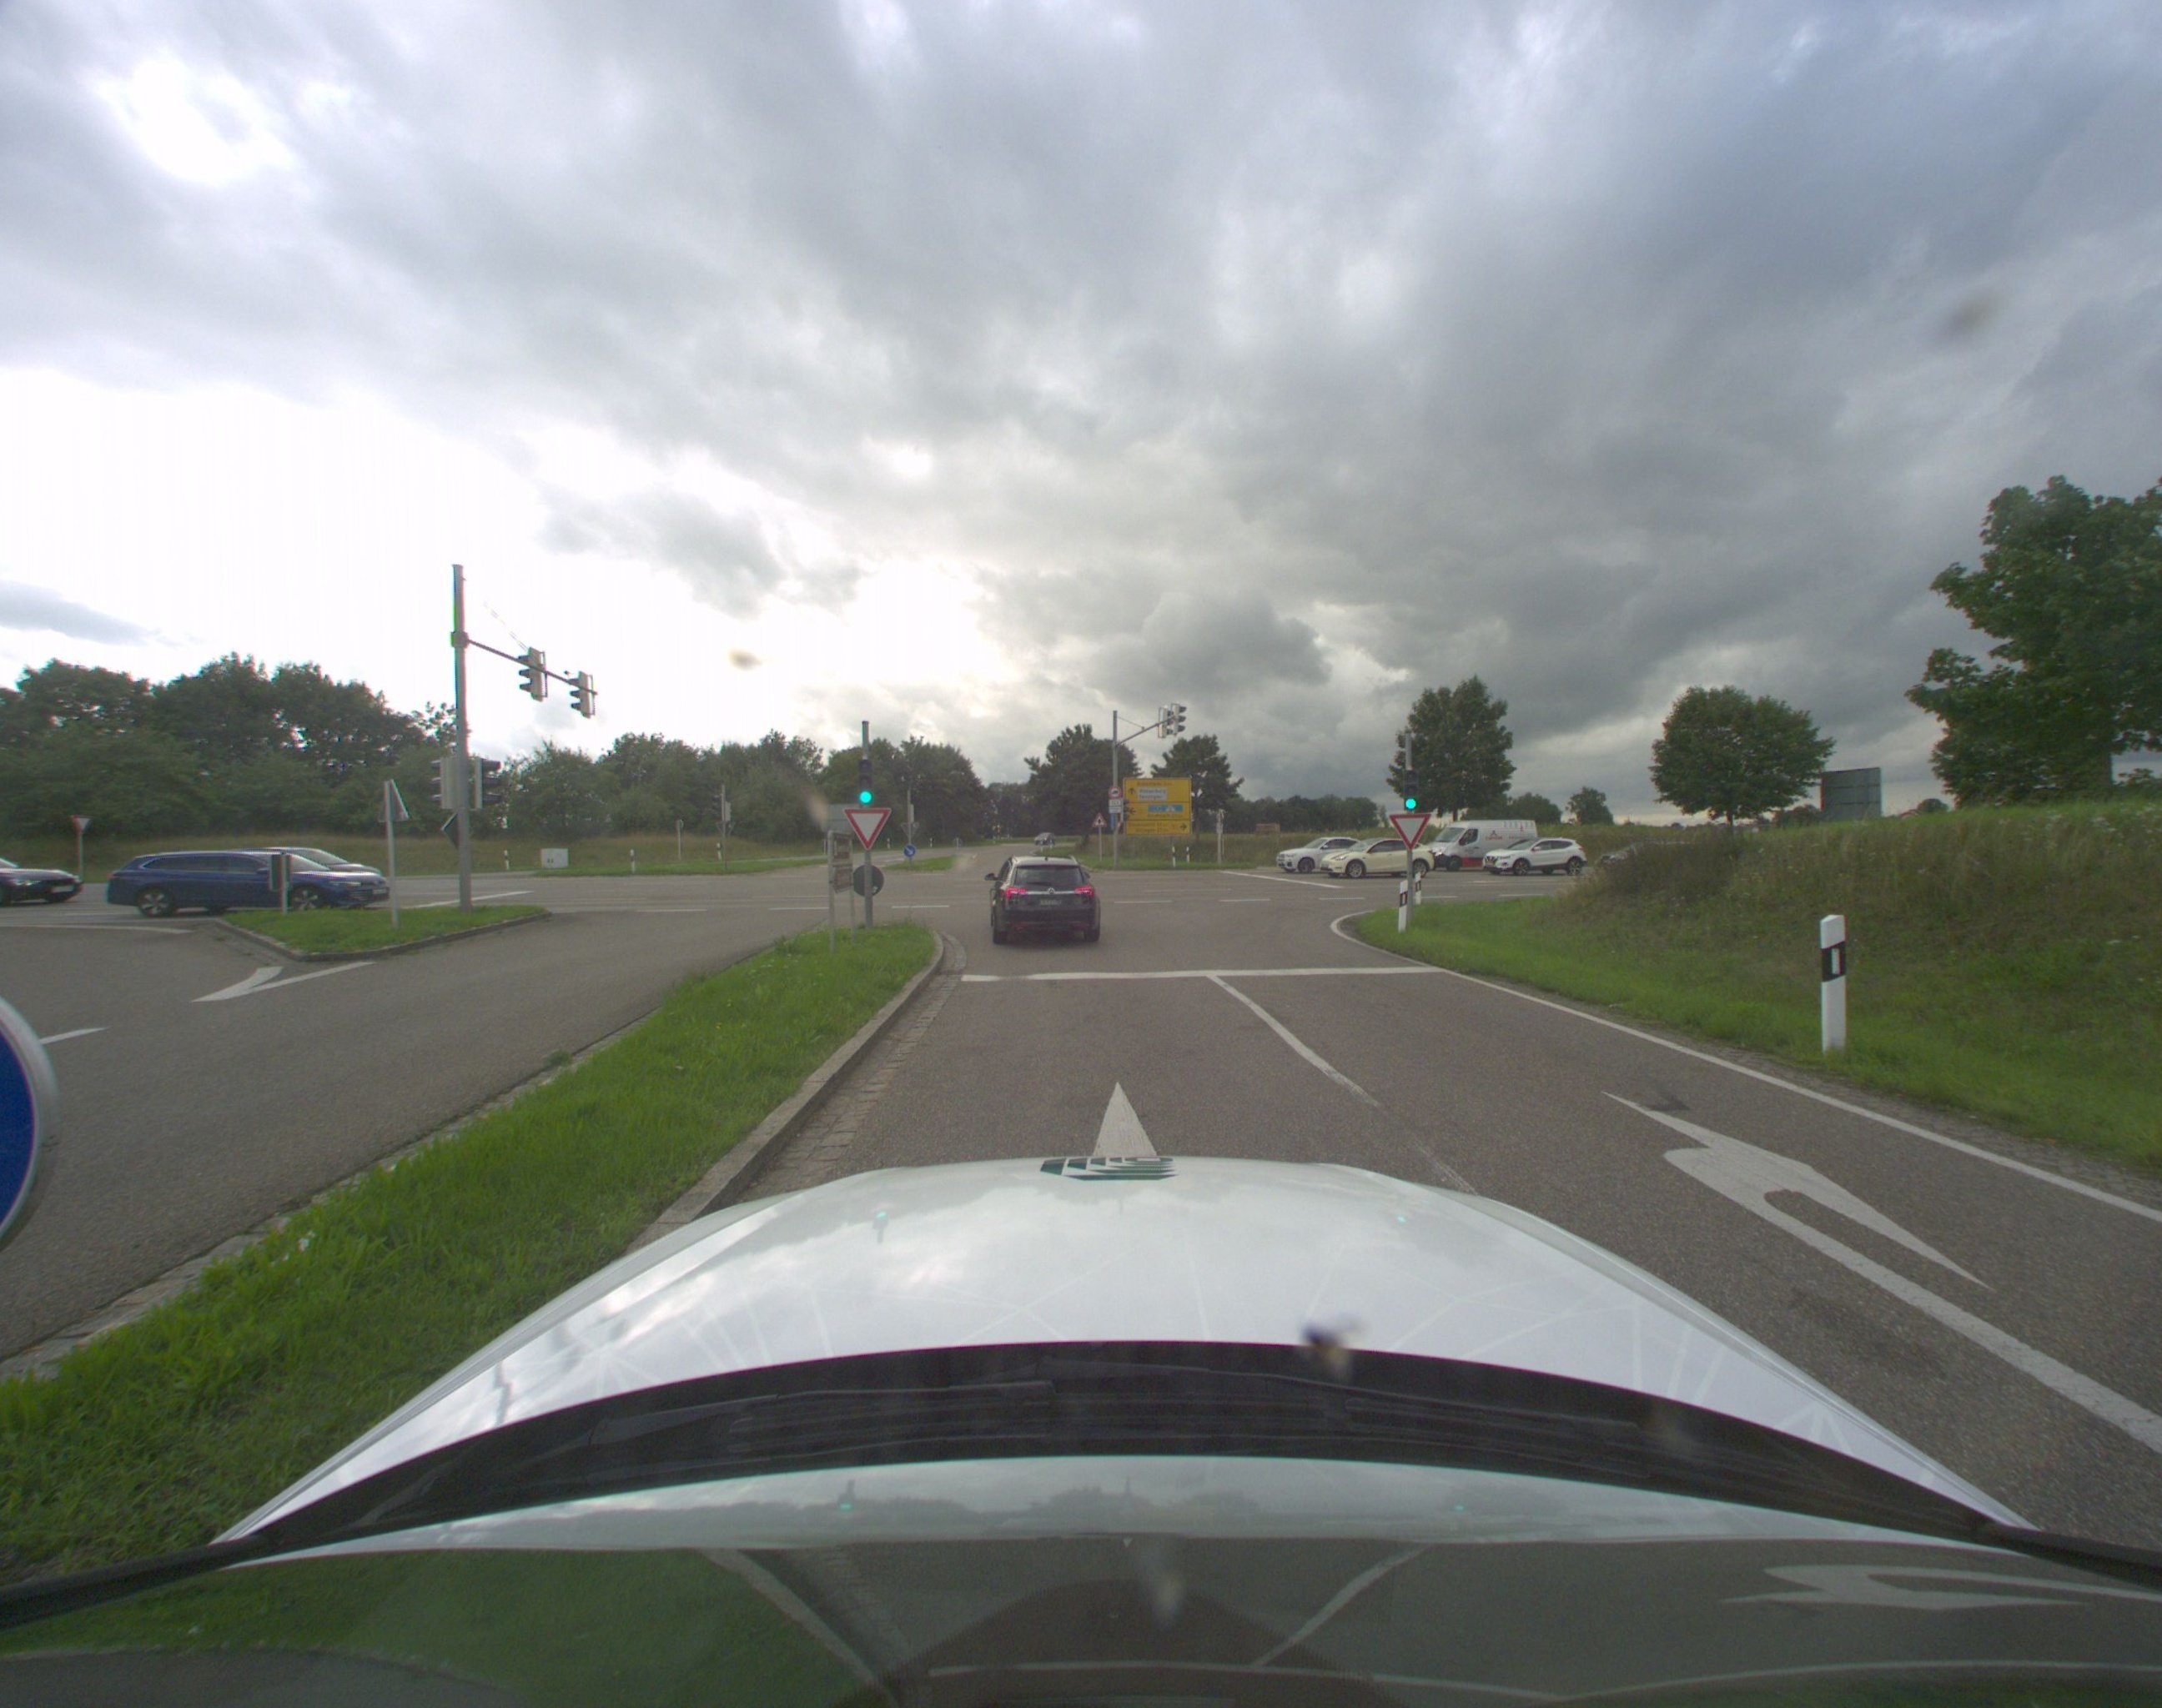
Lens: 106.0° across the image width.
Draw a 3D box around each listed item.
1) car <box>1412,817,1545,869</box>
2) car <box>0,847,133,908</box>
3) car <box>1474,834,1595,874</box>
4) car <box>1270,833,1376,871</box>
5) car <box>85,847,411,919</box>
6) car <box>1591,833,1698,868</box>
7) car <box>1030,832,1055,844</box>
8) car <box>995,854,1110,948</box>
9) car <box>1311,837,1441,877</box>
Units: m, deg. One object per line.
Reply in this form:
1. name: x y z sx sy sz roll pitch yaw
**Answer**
1. car: 19.208 -0.537 39.462 5.495 2.441 2.390 -1 0 -10
2. car: -28.921 0.612 21.419 4.869 1.483 2.047 0 2 -12
3. car: 19.676 -0.006 35.409 4.310 1.629 1.993 -1 0 -11
4. car: 11.130 -0.102 37.532 4.263 1.629 1.992 -1 0 -12
5. car: -19.719 0.624 19.587 5.115 1.534 2.043 -1 1 -13
6. car: 27.868 -0.178 40.325 4.262 1.629 1.993 -1 0 -11
7. car: -4.903 -1.996 104.451 1.978 1.535 4.019 0 1 18
8. car: -0.661 0.738 14.986 1.805 1.450 4.263 -1 0 -6
9. car: 12.197 0.091 33.759 4.735 1.564 1.993 -1 0 -11
